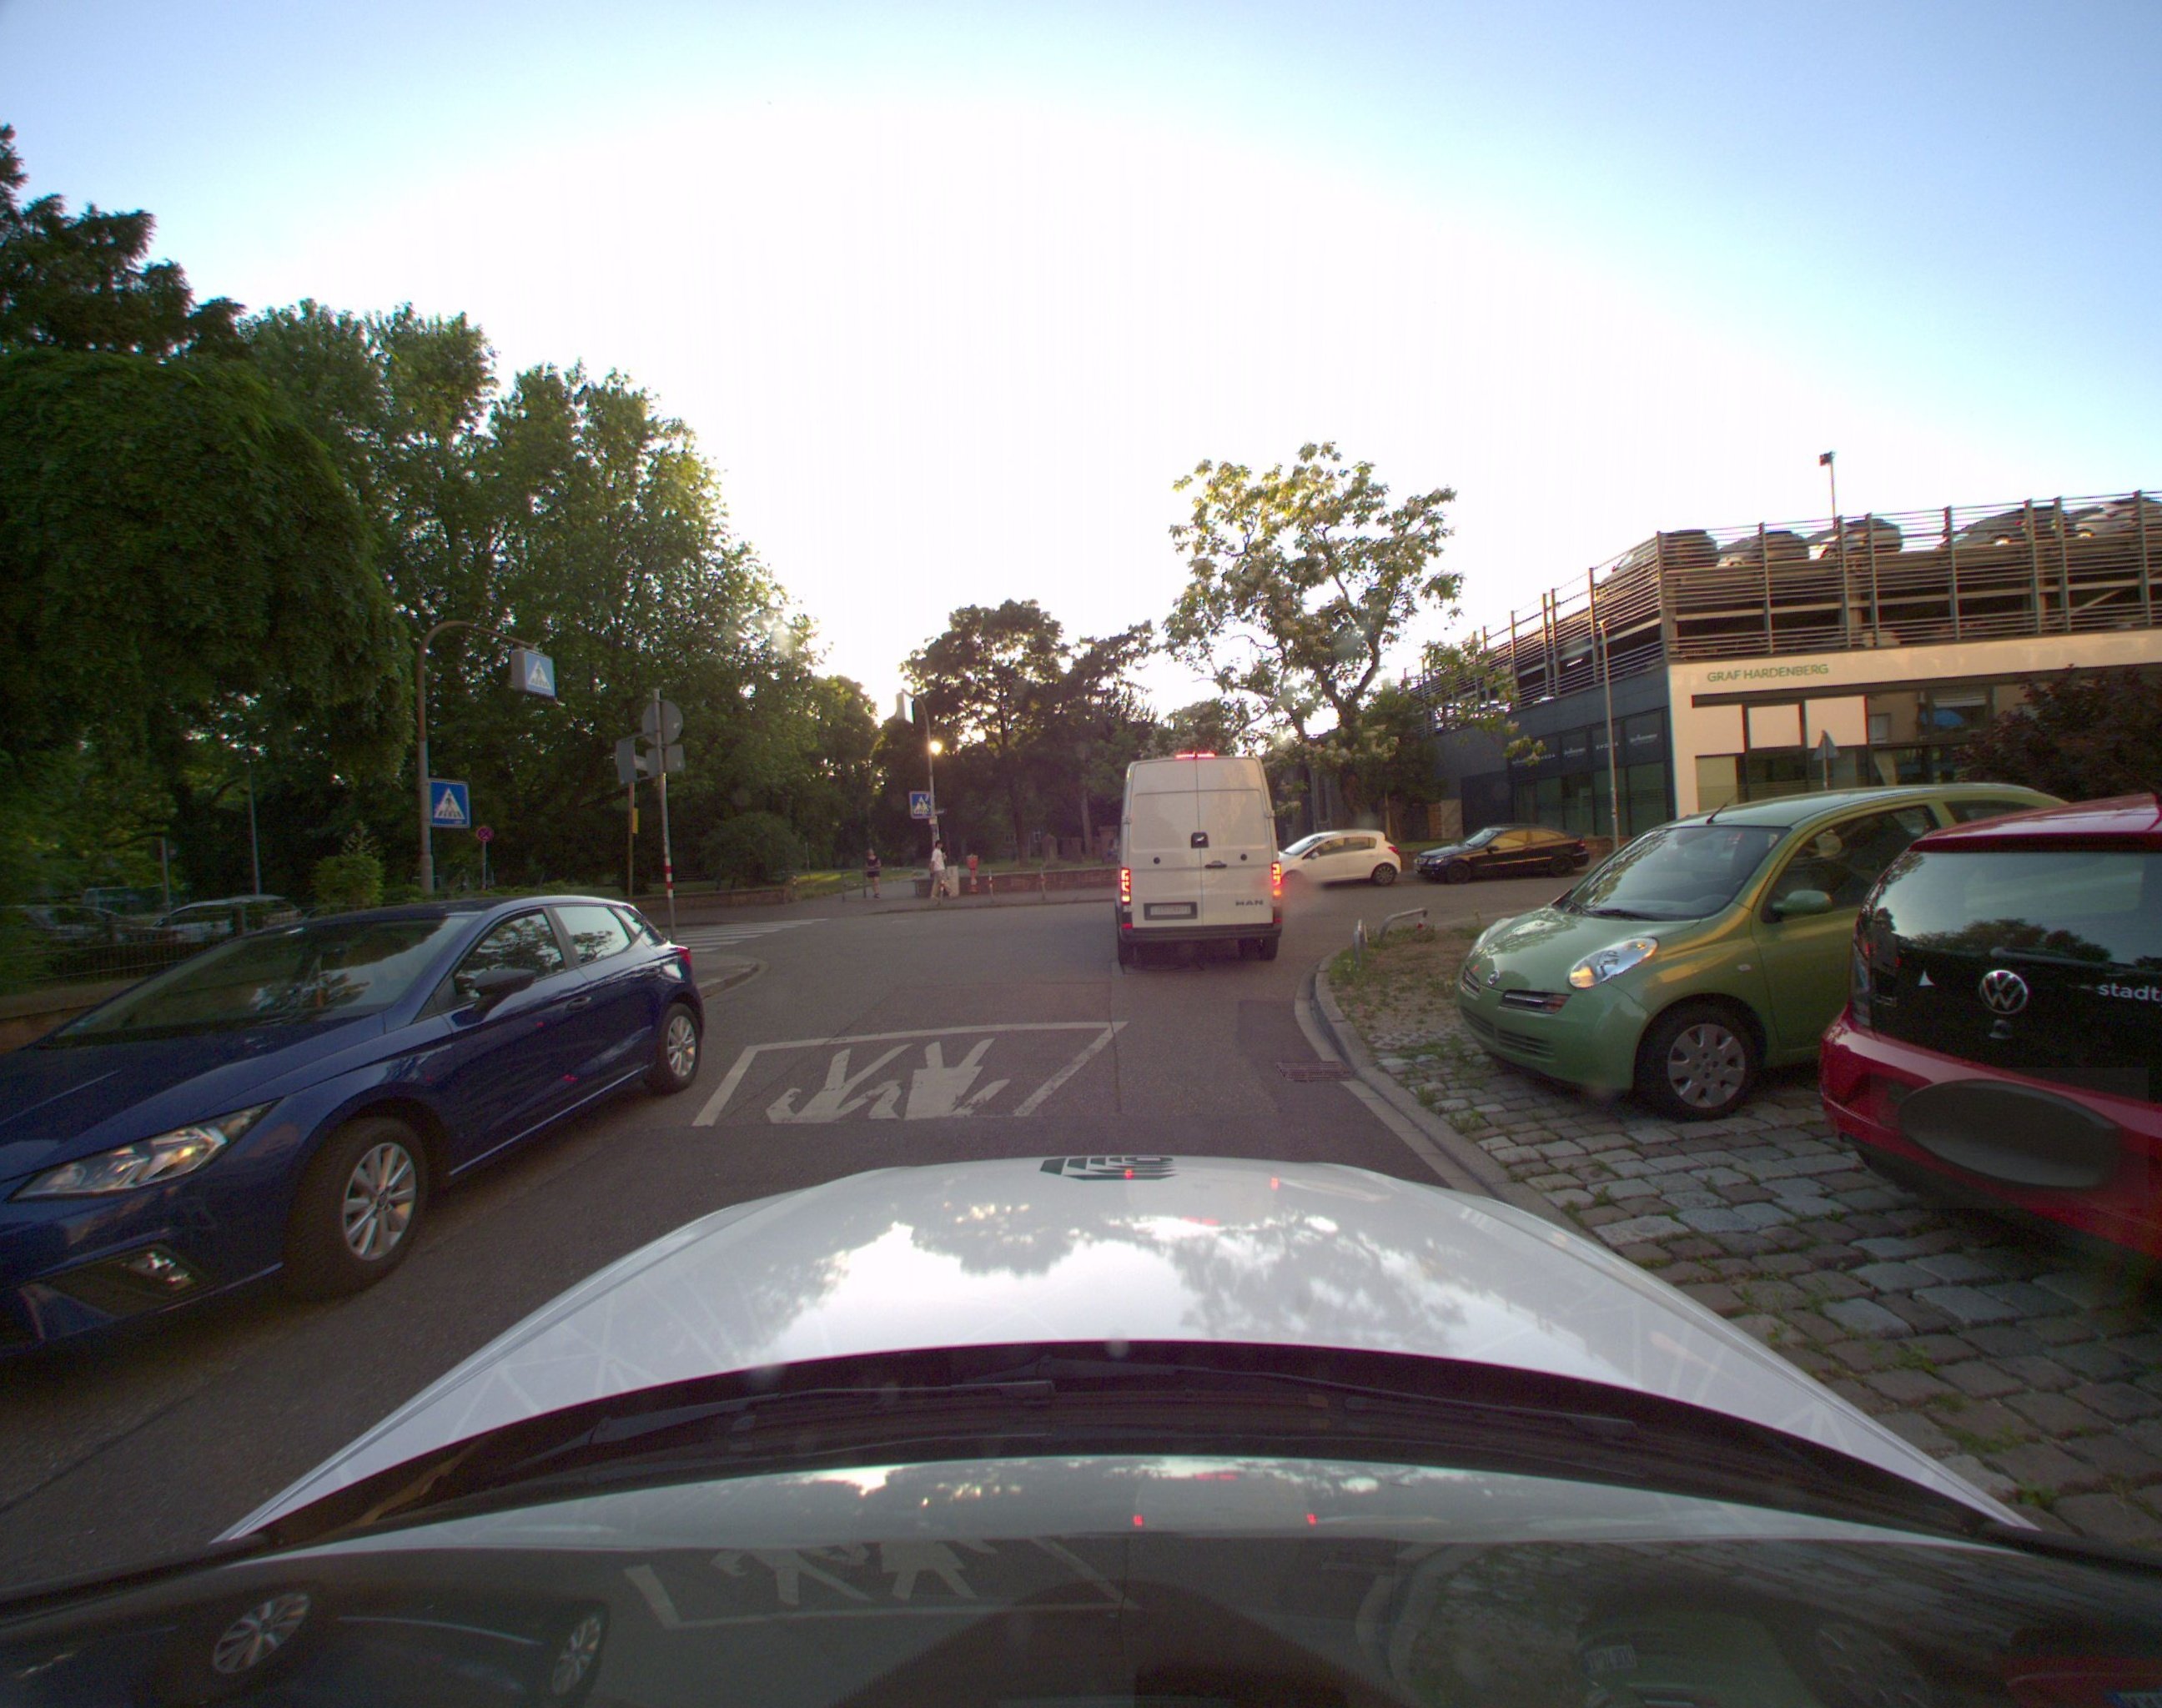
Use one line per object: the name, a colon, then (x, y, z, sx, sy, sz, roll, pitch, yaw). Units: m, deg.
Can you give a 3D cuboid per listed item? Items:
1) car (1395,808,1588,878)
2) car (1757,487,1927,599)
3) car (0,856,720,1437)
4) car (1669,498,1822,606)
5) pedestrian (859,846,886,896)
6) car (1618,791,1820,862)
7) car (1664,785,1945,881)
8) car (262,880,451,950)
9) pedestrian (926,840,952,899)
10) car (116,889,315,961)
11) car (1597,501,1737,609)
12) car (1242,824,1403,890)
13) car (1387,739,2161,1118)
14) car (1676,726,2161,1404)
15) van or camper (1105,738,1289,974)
car: (11.089, -0.301, 22.256, 4.273, 1.503, 1.826, -4, 0, 4)
car: (24.510, -9.953, 26.465, 1.984, 2.013, 4.007, -2, 0, 6)
car: (-3.552, 0.880, 4.169, 1.729, 1.567, 3.787, -4, 1, -3)
car: (21.793, -9.849, 26.943, 1.984, 2.013, 4.007, -2, 0, 6)
pedestrian: (-7.075, 0.579, 27.611, 0.643, 1.648, 0.675, -1, 1, 6)
car: (16.830, -0.708, 21.649, 3.819, 1.503, 1.826, -4, 0, 4)
car: (14.253, -0.406, 16.250, 3.819, 1.523, 1.826, -4, 0, 4)
car: (-20.962, 1.750, 23.656, 3.831, 1.491, 1.828, -4, 6, 7)
pedestrian: (-4.385, 0.472, 25.184, 0.591, 1.809, 0.621, -2, 0, 2)
car: (-25.665, 2.088, 24.243, 3.852, 1.562, 1.826, -4, 6, 4)
car: (19.228, -9.773, 26.985, 1.984, 2.013, 4.007, -2, 0, 6)
car: (6.634, 0.065, 22.656, 3.844, 1.574, 1.957, -3, 1, -2)
car: (4.479, 0.333, 5.023, 4.392, 1.631, 1.844, -4, -1, -2)
car: (4.757, 0.259, 2.463, 4.386, 1.631, 1.847, -7, 0, 2)
van or camper: (1.573, 0.013, 12.512, 1.984, 2.618, 6.411, -2, 0, 4)
